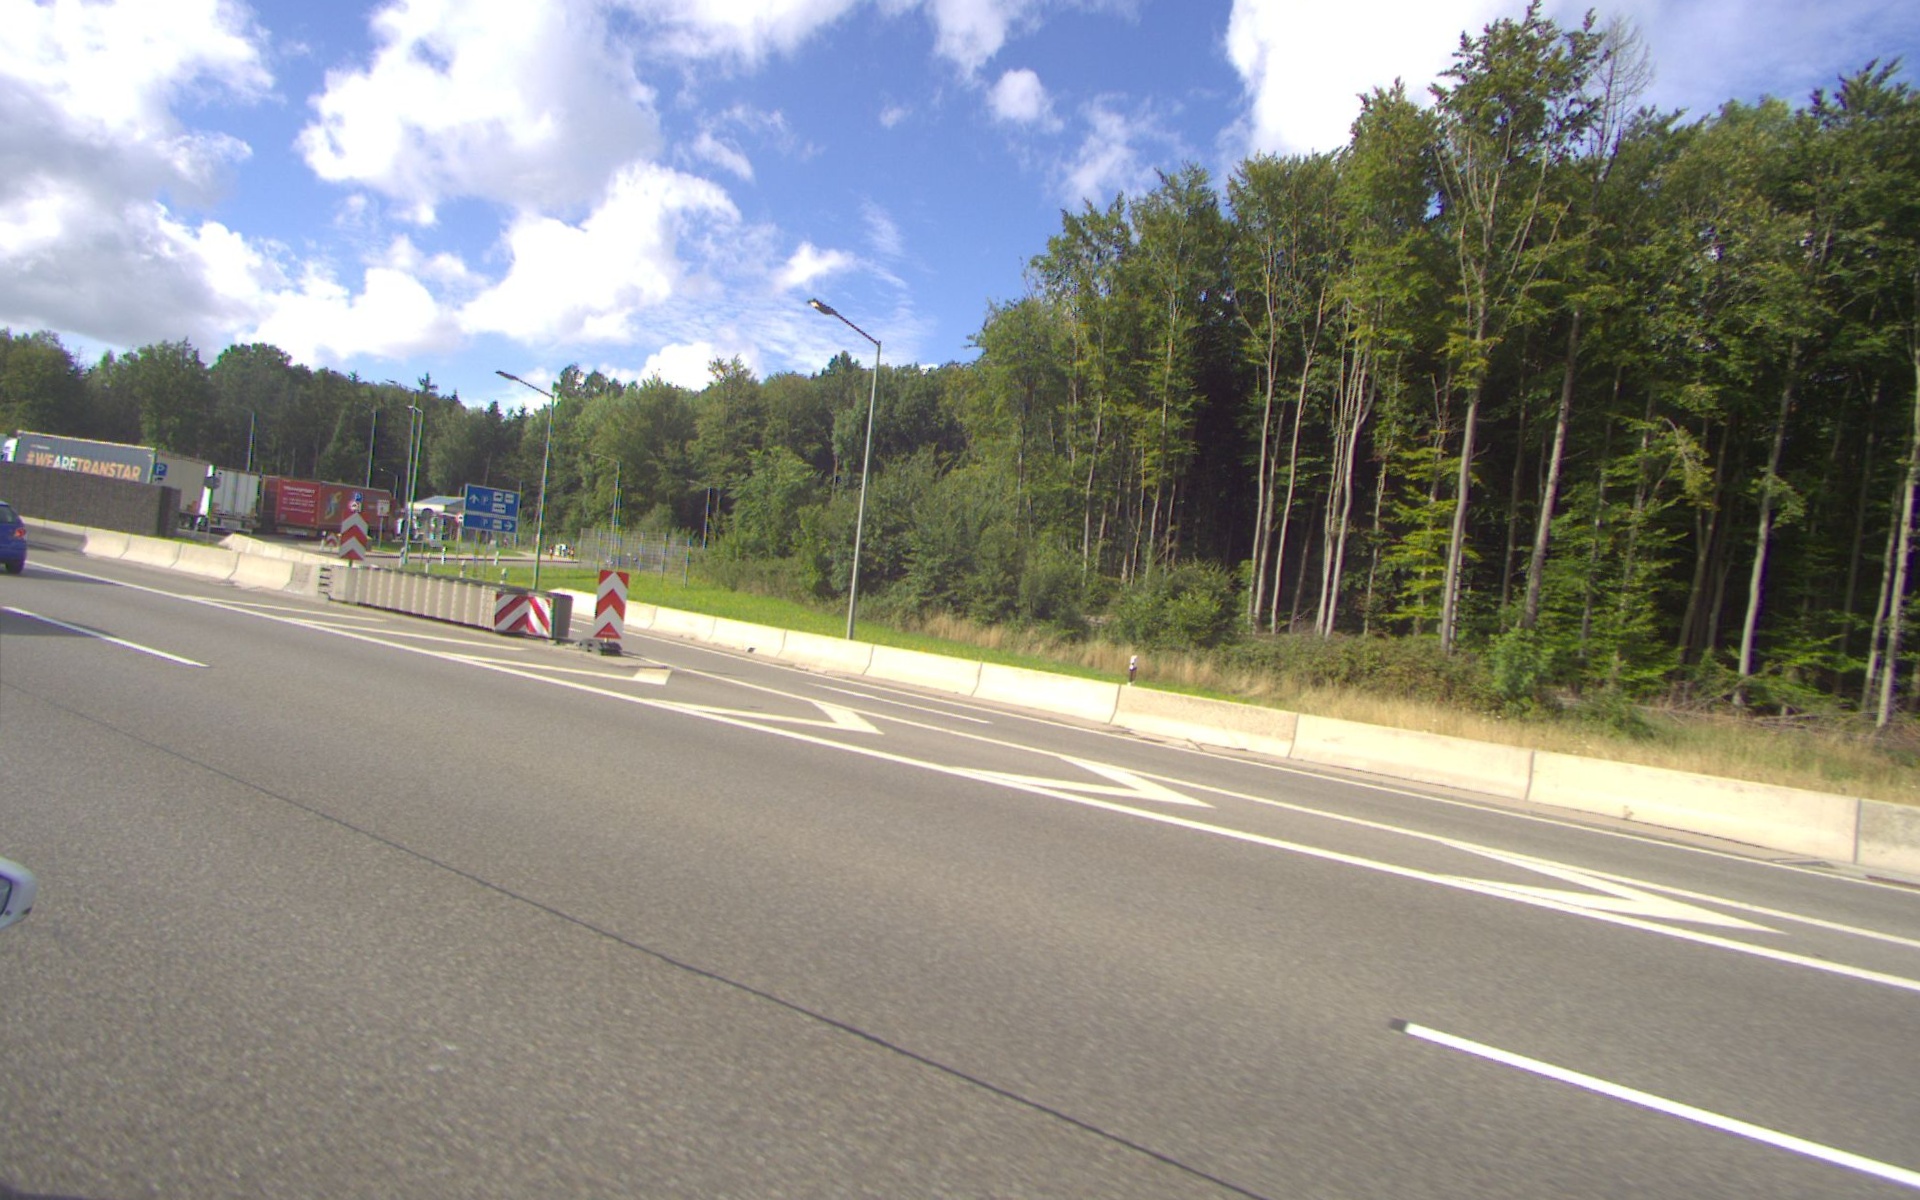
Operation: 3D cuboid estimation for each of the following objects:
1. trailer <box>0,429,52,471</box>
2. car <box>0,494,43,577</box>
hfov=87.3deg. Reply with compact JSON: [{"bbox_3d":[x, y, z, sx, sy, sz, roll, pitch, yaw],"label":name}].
[{"bbox_3d":[-56.864,-8.923,60.154,6.091,2.037,1.997,5,-2,31],"label":"trailer"},{"bbox_3d":[-20.326,-1.456,20.104,4.230,1.530,1.717,6,-1,30],"label":"car"}]
